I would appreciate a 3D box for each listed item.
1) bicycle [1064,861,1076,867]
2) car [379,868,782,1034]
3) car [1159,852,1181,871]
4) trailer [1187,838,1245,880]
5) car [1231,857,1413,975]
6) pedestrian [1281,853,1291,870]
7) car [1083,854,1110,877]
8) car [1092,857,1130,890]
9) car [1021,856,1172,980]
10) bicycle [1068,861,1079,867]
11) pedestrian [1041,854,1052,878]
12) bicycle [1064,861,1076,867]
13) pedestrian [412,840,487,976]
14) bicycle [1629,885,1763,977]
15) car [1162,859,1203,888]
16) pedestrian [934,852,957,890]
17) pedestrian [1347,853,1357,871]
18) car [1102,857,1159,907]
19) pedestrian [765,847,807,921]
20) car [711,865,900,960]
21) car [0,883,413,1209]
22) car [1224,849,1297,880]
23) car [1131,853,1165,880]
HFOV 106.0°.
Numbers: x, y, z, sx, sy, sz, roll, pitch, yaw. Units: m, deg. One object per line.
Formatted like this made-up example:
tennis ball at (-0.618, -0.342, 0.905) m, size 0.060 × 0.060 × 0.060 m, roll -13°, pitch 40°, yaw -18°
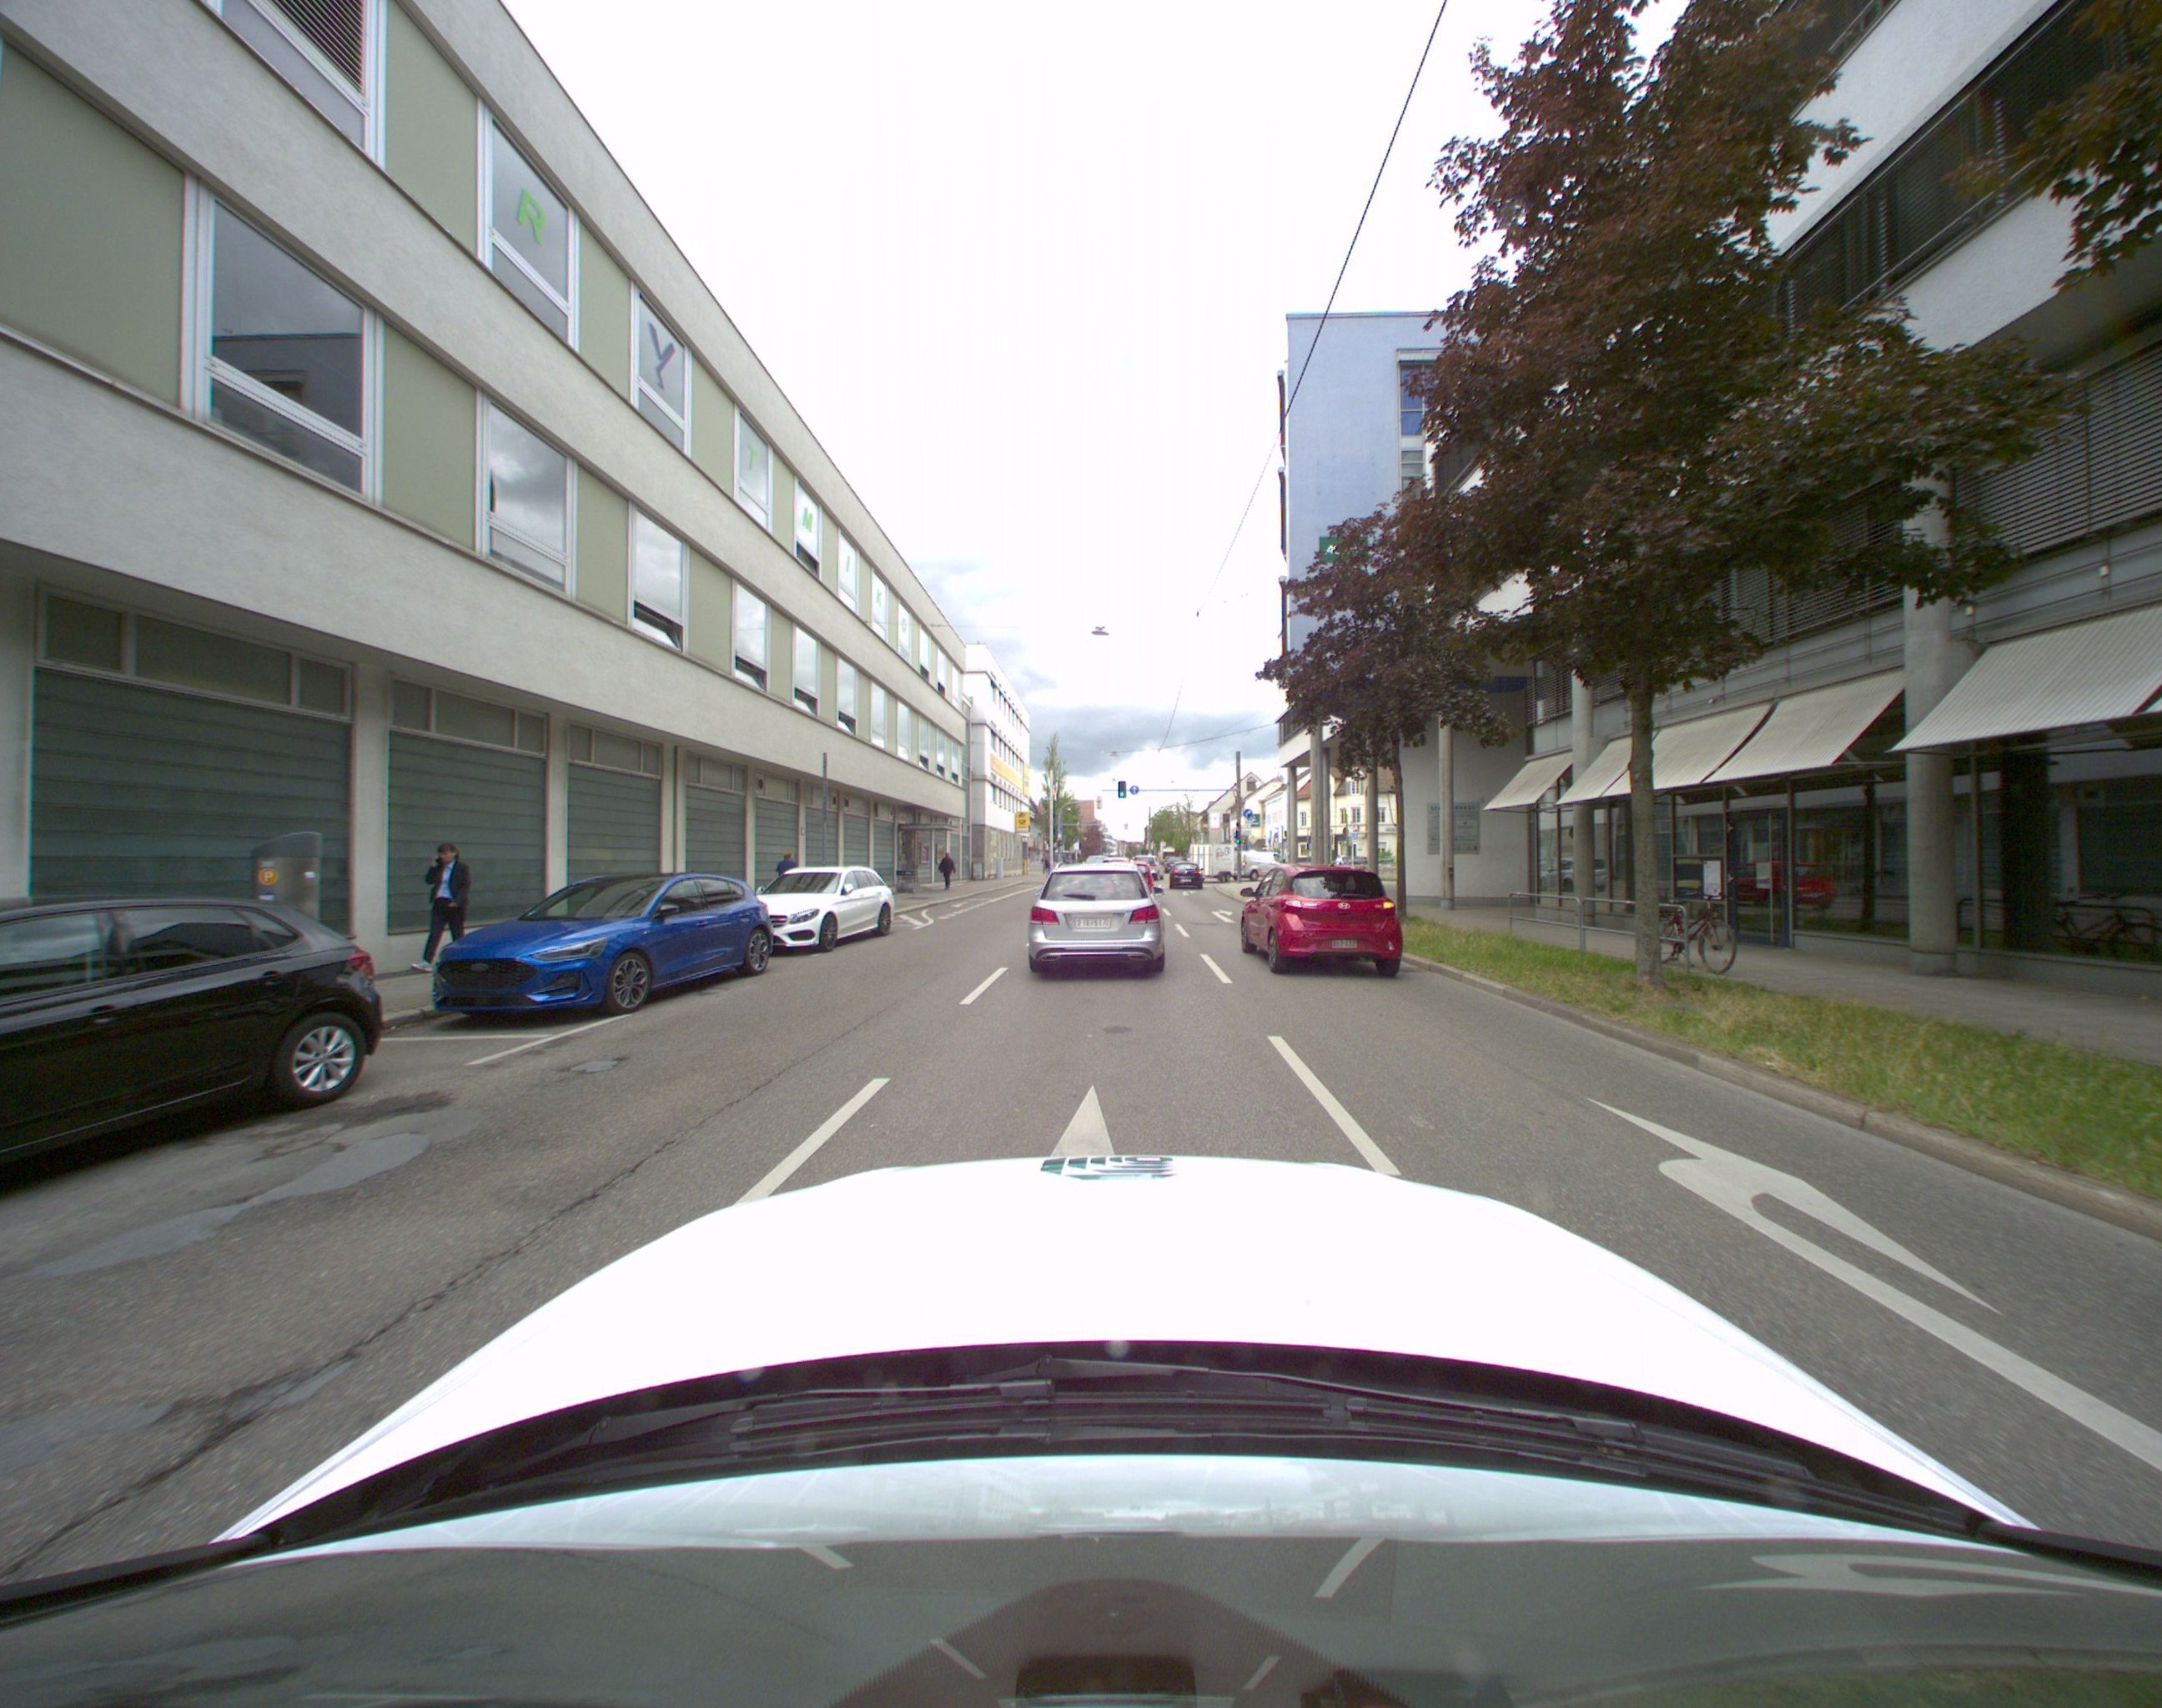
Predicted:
bicycle at (-1.784, 1.717, 136.908) m, size 1.935 × 1.029 × 0.529 m, roll 1°, pitch -1°, yaw -7°
car at (-5.445, 0.942, 9.682) m, size 1.806 × 1.426 × 4.271 m, roll -2°, pitch 0°, yaw 6°
car at (8.446, 0.682, 77.678) m, size 1.821 × 1.785 × 4.001 m, roll 0°, pitch 0°, yaw 1°
trailer at (8.813, 0.341, 52.942) m, size 1.860 × 2.613 × 4.350 m, roll 2°, pitch 0°, yaw 36°
car at (3.451, 0.800, 12.409) m, size 1.692 × 1.452 × 4.002 m, roll 2°, pitch 0°, yaw 2°
pedestrian at (20.931, 0.750, 83.121) m, size 0.707 × 1.718 × 0.643 m, roll 0°, pitch -1°, yaw -31°
car at (1.212, 0.858, 60.917) m, size 1.768 × 1.632 × 4.772 m, roll -1°, pitch 0°, yaw 4°
car at (1.419, 0.900, 39.448) m, size 1.728 × 1.508 × 4.001 m, roll -1°, pitch 0°, yaw 1°
car at (0.237, 0.798, 12.125) m, size 1.839 × 1.508 × 4.172 m, roll -1°, pitch 0°, yaw 1°
bicycle at (-1.254, 1.751, 140.875) m, size 1.935 × 1.029 × 0.529 m, roll 1°, pitch -1°, yaw -7°
pedestrian at (-2.434, 0.853, 57.543) m, size 0.643 × 1.718 × 0.785 m, roll 1°, pitch 0°, yaw 10°
bicycle at (-1.883, 1.720, 137.573) m, size 1.935 × 1.029 × 0.529 m, roll 1°, pitch -1°, yaw -7°
pedestrian at (-8.322, 0.687, 10.758) m, size 0.591 × 1.718 × 0.645 m, roll 0°, pitch -1°, yaw -19°
bicycle at (8.428, 1.005, 11.268) m, size 0.359 × 1.086 × 2.028 m, roll 1°, pitch 0°, yaw 1°
car at (5.360, 1.012, 43.273) m, size 1.728 × 1.410 × 4.001 m, roll -1°, pitch 0°, yaw 1°
pedestrian at (-6.303, 0.788, 37.901) m, size 0.858 × 1.718 × 1.032 m, roll 1°, pitch 0°, yaw 1°
pedestrian at (26.230, 0.787, 78.801) m, size 0.779 × 1.718 × 0.654 m, roll 1°, pitch 0°, yaw 34°
car at (1.638, 0.877, 27.080) m, size 1.727 × 1.508 × 4.003 m, roll 0°, pitch 0°, yaw 3°
pedestrian at (-7.045, 0.694, 19.476) m, size 0.587 × 1.718 × 1.055 m, roll -1°, pitch 0°, yaw 1°
car at (-4.964, 0.972, 15.432) m, size 1.662 × 1.434 × 4.559 m, roll -2°, pitch 0°, yaw 5°
car at (-5.832, 0.949, 4.062) m, size 1.710 × 1.425 × 3.871 m, roll -2°, pitch 0°, yaw 1°
car at (12.369, 0.740, 56.044) m, size 4.921 × 1.945 × 1.866 m, roll 2°, pitch 0°, yaw -31°
car at (4.592, 0.829, 55.342) m, size 1.722 × 1.759 × 4.014 m, roll -1°, pitch 0°, yaw 12°
